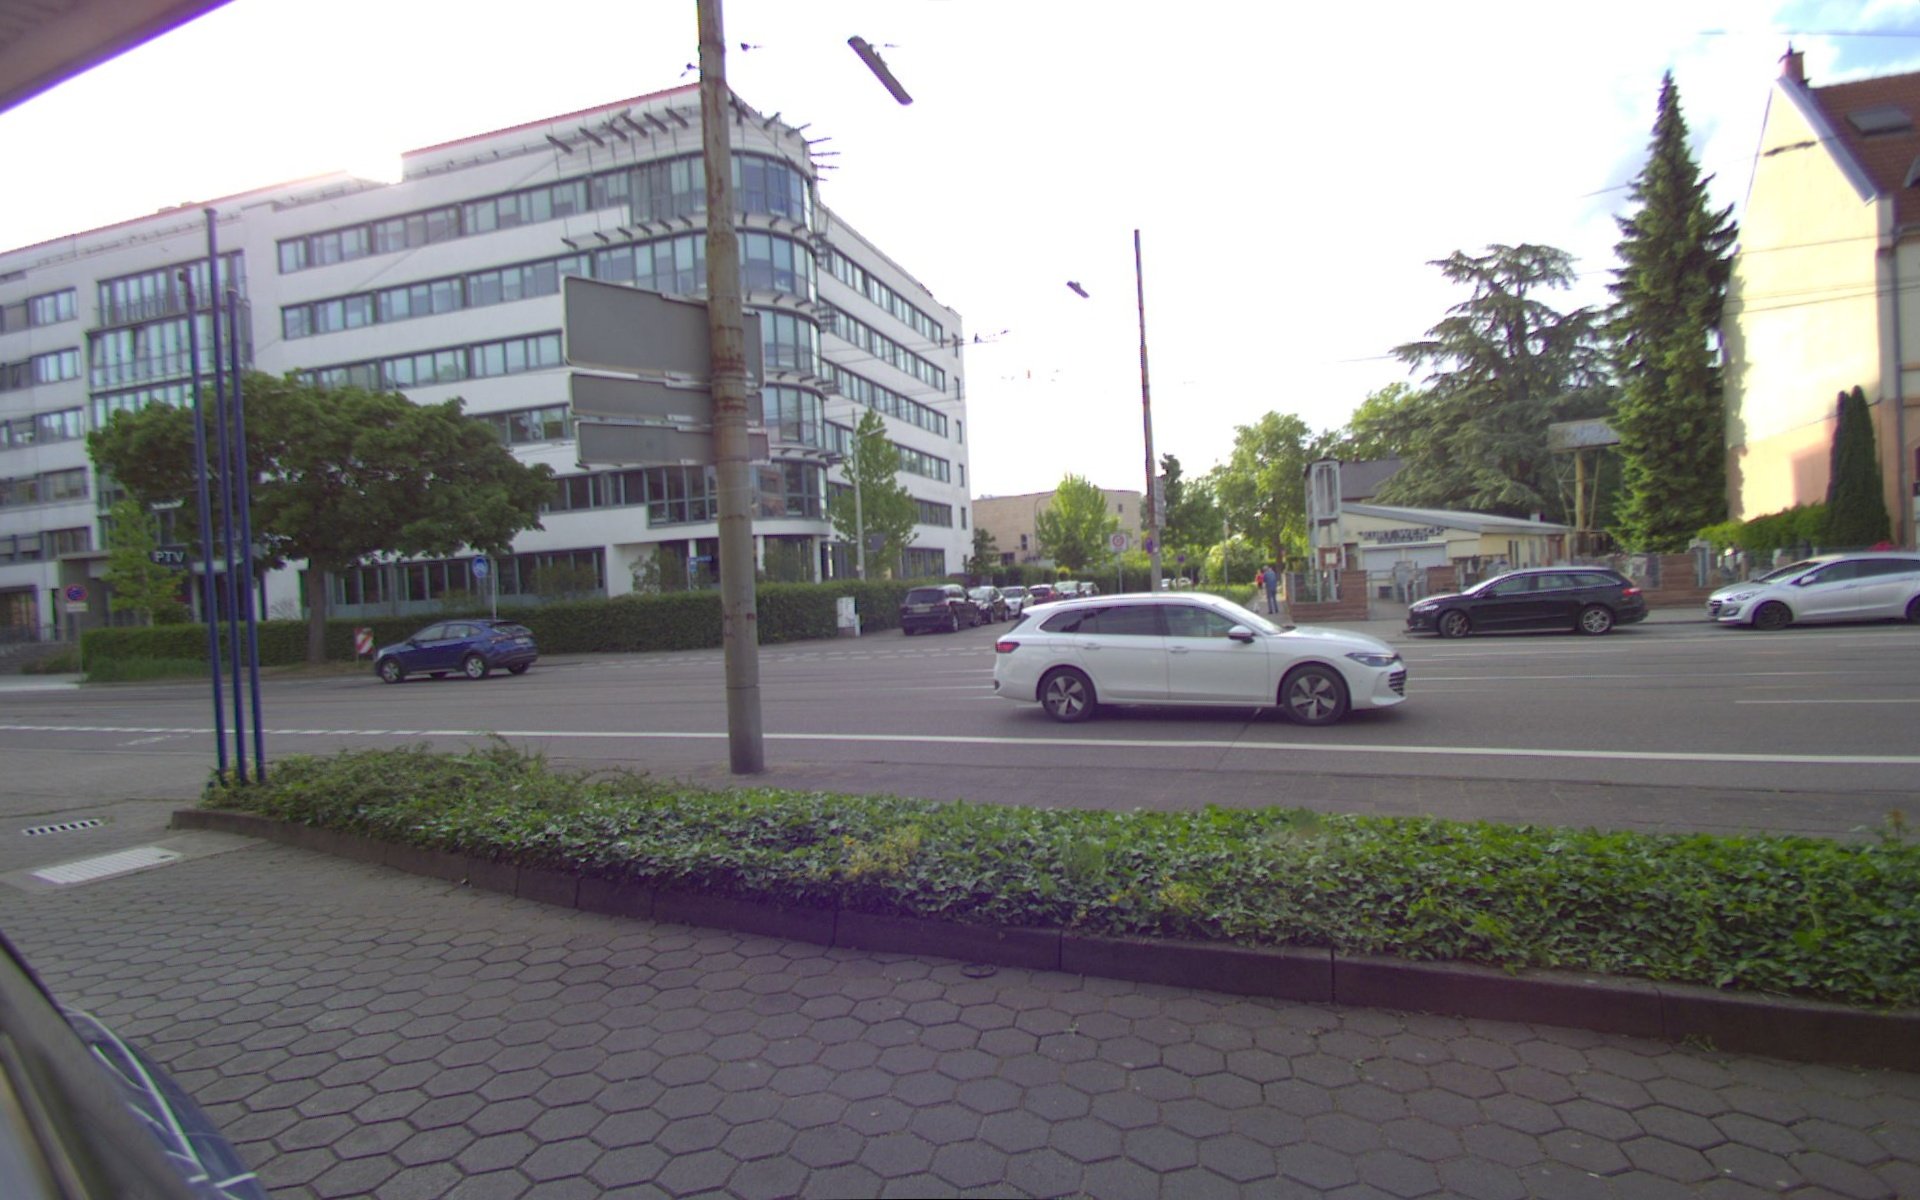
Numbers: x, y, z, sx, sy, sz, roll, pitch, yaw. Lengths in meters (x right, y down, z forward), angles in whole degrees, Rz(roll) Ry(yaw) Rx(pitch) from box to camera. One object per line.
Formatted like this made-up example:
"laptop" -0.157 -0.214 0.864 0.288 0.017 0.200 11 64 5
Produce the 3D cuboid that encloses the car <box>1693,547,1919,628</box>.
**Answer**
"car" 18.408 -0.274 21.390 4.349 1.493 1.732 -3 1 22

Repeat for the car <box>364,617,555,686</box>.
"car" -12.833 1.311 26.038 4.096 1.480 1.857 -3 0 12

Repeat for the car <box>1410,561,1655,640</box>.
"car" 13.015 0.003 23.360 4.632 1.533 1.842 -3 2 22

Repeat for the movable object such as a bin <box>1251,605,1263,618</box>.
"movable object such as a bin" 10.360 0.401 35.320 0.363 0.397 0.660 -2 2 14

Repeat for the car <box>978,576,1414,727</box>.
"car" 2.805 0.603 12.261 4.796 1.520 1.850 -2 2 23

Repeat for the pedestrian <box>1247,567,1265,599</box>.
"pedestrian" 18.181 -1.022 62.147 0.965 1.896 1.055 -1 0 18

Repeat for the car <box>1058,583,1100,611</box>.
"car" 7.386 -0.219 62.563 1.807 1.585 4.052 -4 0 16

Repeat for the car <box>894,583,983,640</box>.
"car" -0.686 0.355 35.559 1.807 1.701 4.370 -4 1 16

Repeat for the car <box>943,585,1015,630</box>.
"car" 0.832 0.267 40.974 1.807 1.589 4.175 -4 0 16

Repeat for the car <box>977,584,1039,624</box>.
"car" 2.225 0.148 45.678 1.807 1.589 4.175 -4 0 16

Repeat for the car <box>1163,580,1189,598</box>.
"car" 22.834 -1.166 106.847 1.813 1.654 4.040 -4 0 25

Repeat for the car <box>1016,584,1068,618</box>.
"car" 4.301 0.018 52.400 1.807 1.589 4.175 -4 0 16

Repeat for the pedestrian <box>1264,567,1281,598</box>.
"pedestrian" 19.090 -1.051 61.853 0.965 1.896 1.055 -1 0 18

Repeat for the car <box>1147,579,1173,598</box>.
"car" 19.957 -1.145 100.900 1.811 1.654 4.044 -4 0 22

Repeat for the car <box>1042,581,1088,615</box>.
"car" 6.032 -0.141 57.798 1.807 1.704 4.392 -4 0 16

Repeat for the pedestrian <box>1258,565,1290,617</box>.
"pedestrian" 10.908 -0.315 35.175 0.901 1.712 0.922 -3 2 13
